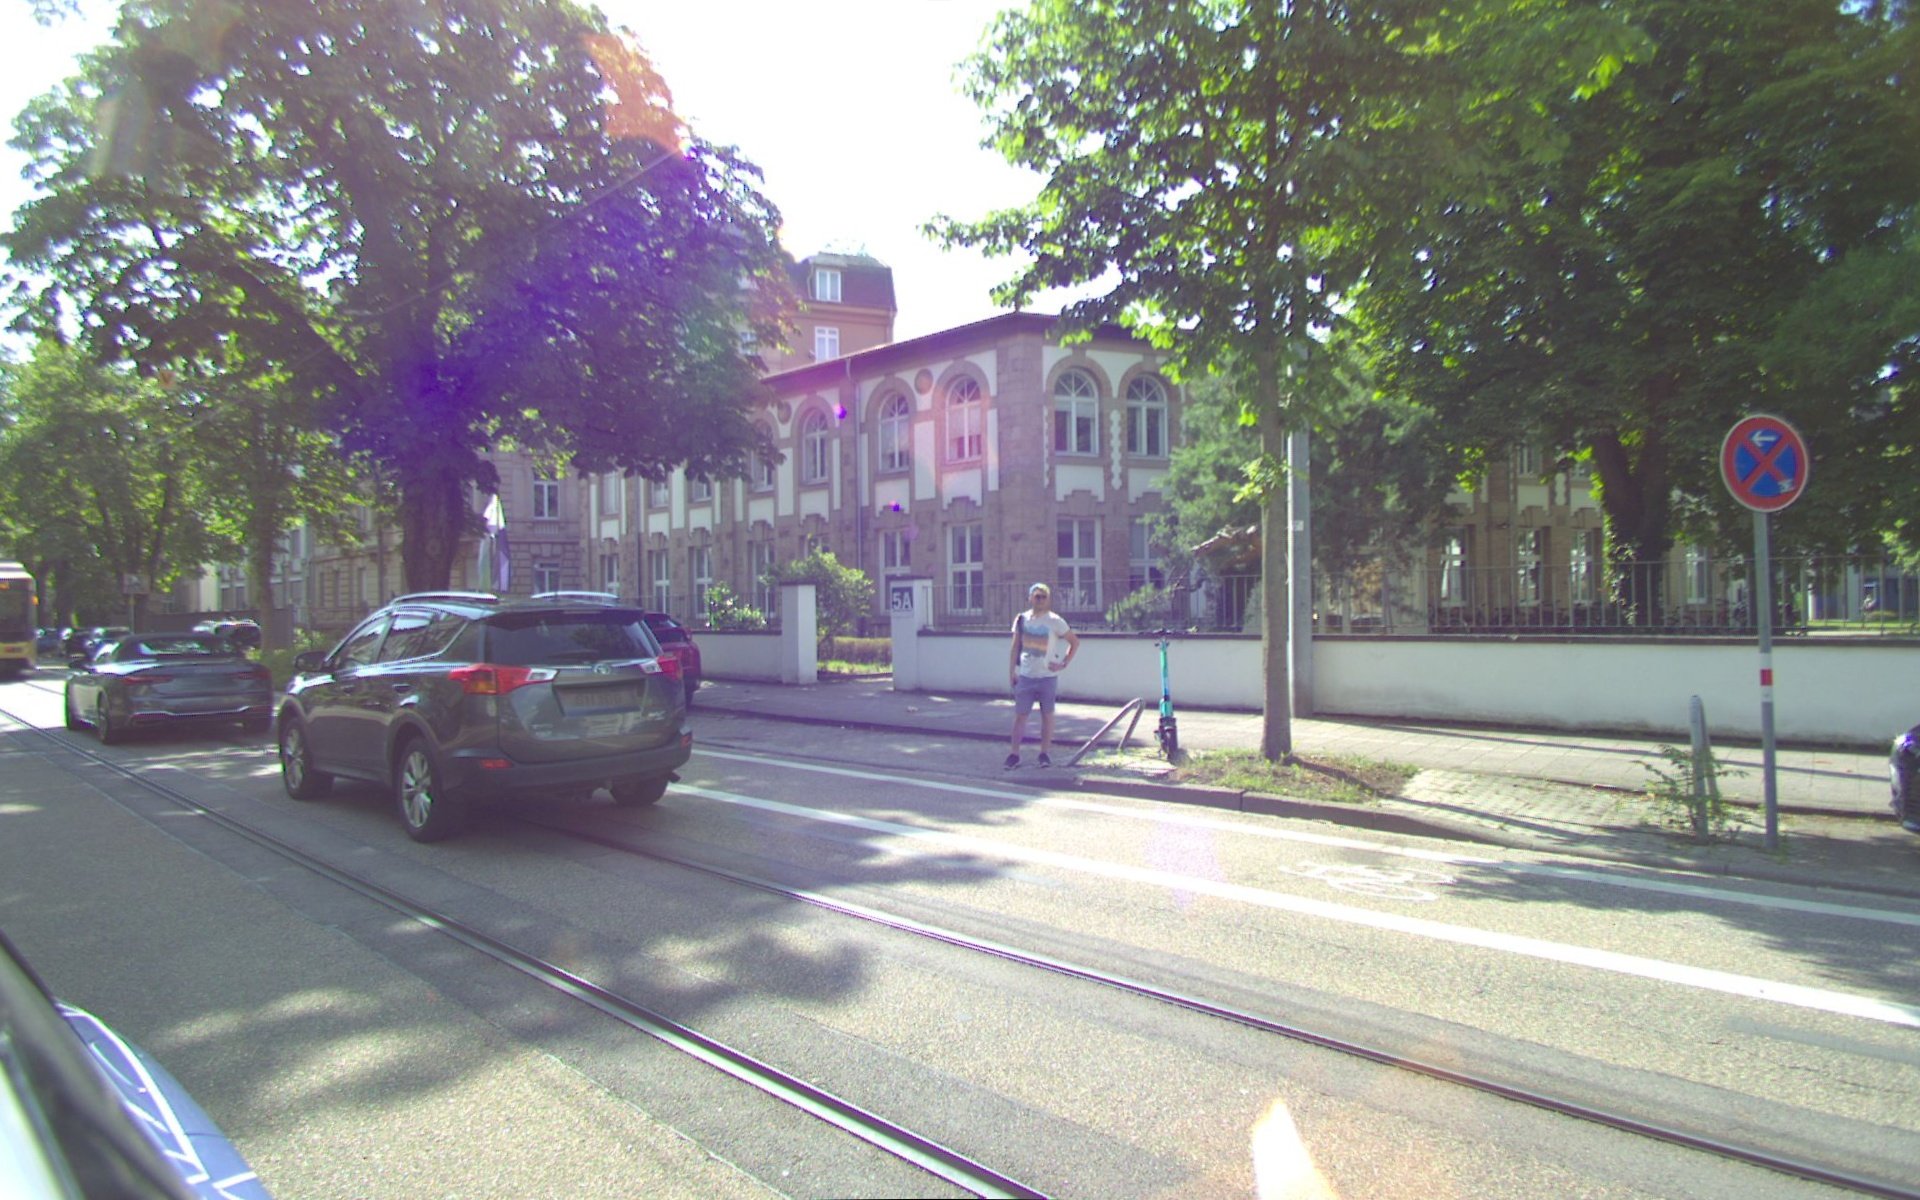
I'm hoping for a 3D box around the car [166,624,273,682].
[{"bbox_3d":[-23.519,1.619,32.073,4.329,1.653,1.788,-1,1,41],"label":"car"}]

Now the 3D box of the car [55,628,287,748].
[{"bbox_3d":[-11.131,1.110,14.165,4.424,1.399,1.780,-2,-2,41],"label":"car"}]

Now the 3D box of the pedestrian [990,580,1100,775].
[{"bbox_3d":[0.834,0.710,9.804,0.750,1.780,0.782,-1,0,32],"label":"pedestrian"}]

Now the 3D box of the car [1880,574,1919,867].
[{"bbox_3d":[7.294,0.580,4.500,4.586,1.527,1.732,-1,1,39],"label":"car"}]

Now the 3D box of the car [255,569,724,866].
[{"bbox_3d":[-3.943,0.762,8.088,4.389,1.740,1.806,-2,-2,42],"label":"car"}]

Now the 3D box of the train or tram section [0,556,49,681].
[{"bbox_3d":[-31.524,0.594,31.842,14.103,3.381,2.624,-1,-3,42],"label":"train or tram section"}]

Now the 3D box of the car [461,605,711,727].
[{"bbox_3d":[-6.231,0.977,16.576,4.718,1.678,1.732,-1,1,41],"label":"car"}]

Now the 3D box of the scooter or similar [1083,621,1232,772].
[{"bbox_3d":[1.928,0.875,9.784,0.854,1.289,1.325,-1,1,40],"label":"scooter or similar"}]

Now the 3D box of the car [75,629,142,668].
[{"bbox_3d":[-37.291,2.089,44.287,3.806,1.496,1.637,-1,1,41],"label":"car"}]
